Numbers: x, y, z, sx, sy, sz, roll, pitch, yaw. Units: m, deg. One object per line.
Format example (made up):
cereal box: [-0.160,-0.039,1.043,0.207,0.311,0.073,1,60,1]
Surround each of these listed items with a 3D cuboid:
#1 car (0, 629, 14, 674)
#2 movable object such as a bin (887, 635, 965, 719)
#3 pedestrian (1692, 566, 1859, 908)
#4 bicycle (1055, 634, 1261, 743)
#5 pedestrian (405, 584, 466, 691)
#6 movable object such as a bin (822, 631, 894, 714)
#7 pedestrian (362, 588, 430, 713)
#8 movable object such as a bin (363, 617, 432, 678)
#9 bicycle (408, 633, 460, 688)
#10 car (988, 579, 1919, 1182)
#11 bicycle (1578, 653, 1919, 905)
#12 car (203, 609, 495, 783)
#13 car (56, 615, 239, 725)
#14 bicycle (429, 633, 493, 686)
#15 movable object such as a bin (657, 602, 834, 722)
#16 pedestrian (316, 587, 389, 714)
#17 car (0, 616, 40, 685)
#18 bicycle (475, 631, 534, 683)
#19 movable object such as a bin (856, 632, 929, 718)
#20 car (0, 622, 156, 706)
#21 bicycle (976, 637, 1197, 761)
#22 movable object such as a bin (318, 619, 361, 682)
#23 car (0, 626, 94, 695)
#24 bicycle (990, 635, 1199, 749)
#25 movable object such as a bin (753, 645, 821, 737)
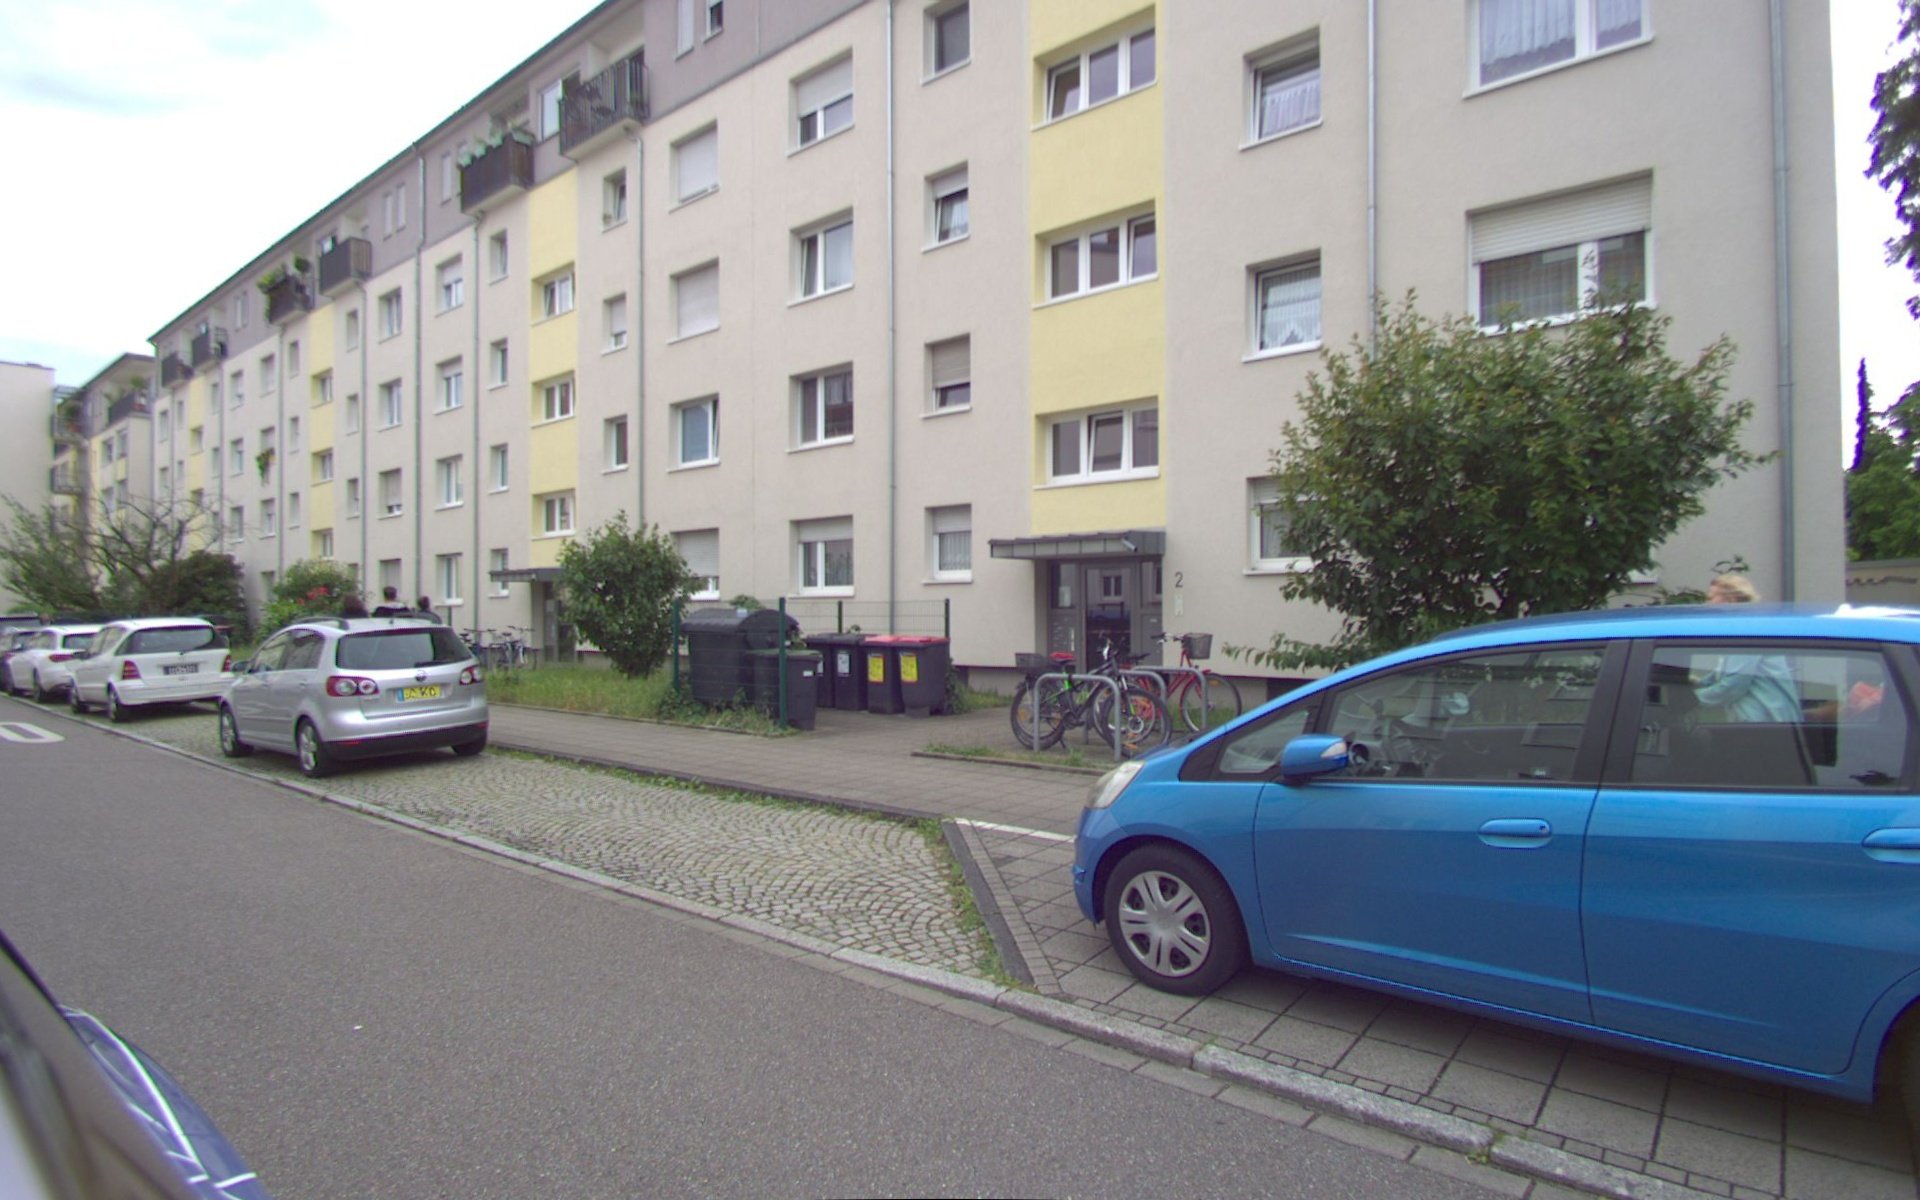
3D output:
car: [-31.804,1.670,32.497,3.536,1.408,1.556,-2,-2,38]
movable object such as a bin: [-0.454,1.011,13.521,0.633,1.059,0.855,-2,-2,38]
pedestrian: [4.021,0.632,4.995,0.568,1.561,0.442,-2,-2,44]
bicycle: [2.123,0.920,11.105,2.174,1.079,0.651,-2,-2,41]
pedestrian: [-8.405,0.594,16.228,0.802,1.669,0.608,-2,-2,40]
movable object such as a bin: [-1.445,1.013,14.391,0.597,1.125,0.834,-2,-2,37]
pedestrian: [-8.705,0.760,15.630,0.762,1.868,0.699,-2,-2,40]
movable object such as a bin: [-13.552,1.128,24.385,1.187,1.385,1.047,0,0,35]
bicycle: [-10.436,1.182,20.057,1.496,1.032,0.352,-2,-2,39]
car: [2.199,0.711,3.797,3.953,1.473,1.713,-2,1,40]
bicycle: [4.266,0.849,5.148,1.819,1.128,0.530,-2,-2,45]
car: [-6.985,0.952,11.414,3.913,1.562,1.637,-2,1,41]
car: [-13.840,1.110,17.189,3.723,1.651,1.669,-2,-2,39]
bicycle: [-10.060,1.179,20.383,1.753,1.032,0.473,-2,-2,39]
movable object such as a bin: [-2.803,0.762,13.247,1.669,1.432,1.573,-2,-2,39]
pedestrian: [-9.308,0.752,15.494,0.973,1.877,0.634,-2,0,40]
car: [-26.810,1.391,27.865,4.447,1.793,1.555,-2,-2,39]
bicycle: [-9.485,1.175,21.043,1.556,1.032,0.416,-2,-2,37]
movable object such as a bin: [-0.924,1.013,13.980,0.597,1.125,0.834,-2,-2,37]
car: [-18.202,1.262,20.696,4.680,1.521,1.702,-2,-2,38]
bicycle: [1.180,0.910,9.849,2.120,1.076,0.650,-2,-2,41]
movable object such as a bin: [-14.073,1.134,22.944,0.586,1.378,0.651,0,0,36]
car: [-22.209,1.364,23.974,4.476,1.464,1.709,-1,-1,38]
bicycle: [1.369,0.918,10.682,2.174,1.079,0.651,-2,-2,41]
movable object such as a bin: [-2.048,1.059,11.989,0.597,1.041,0.531,-2,-2,39]
